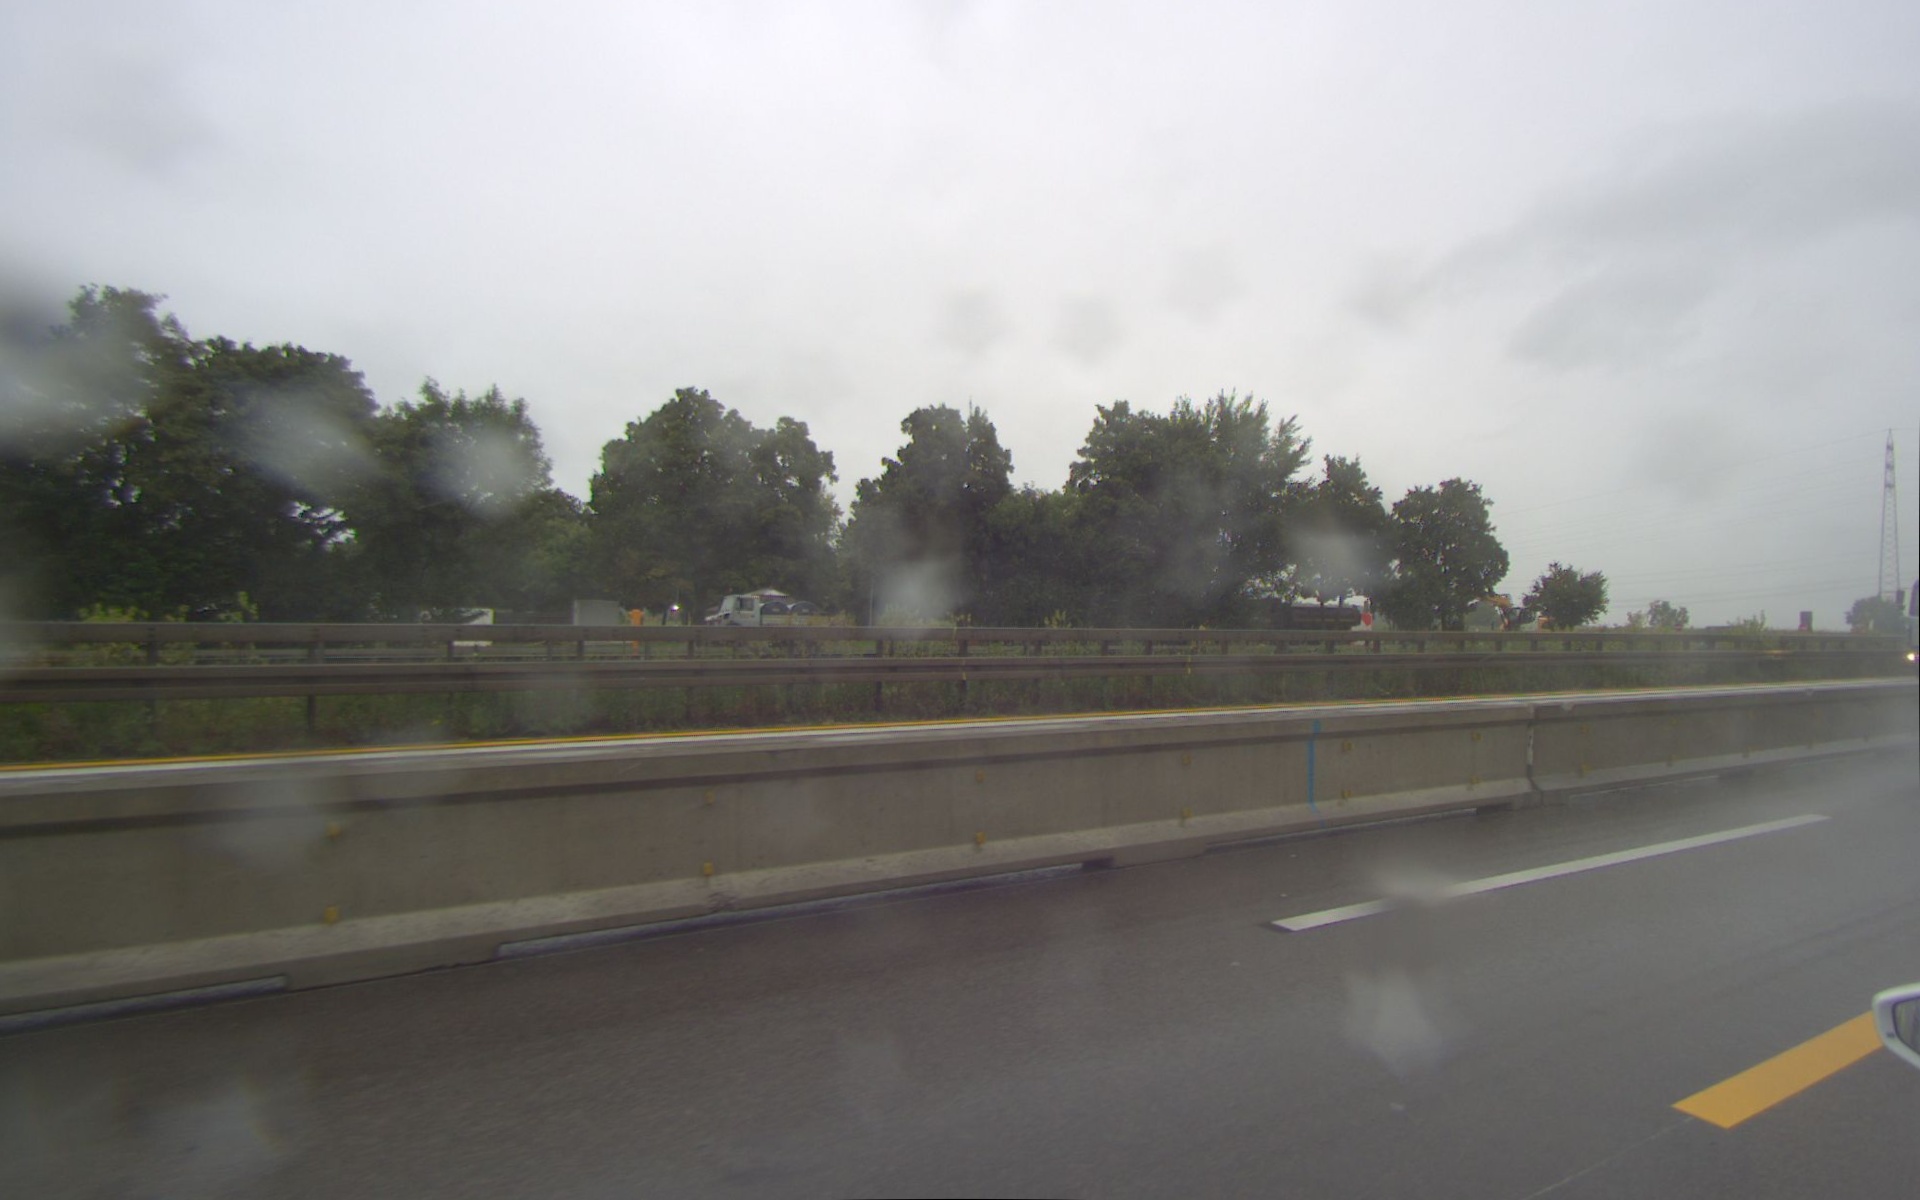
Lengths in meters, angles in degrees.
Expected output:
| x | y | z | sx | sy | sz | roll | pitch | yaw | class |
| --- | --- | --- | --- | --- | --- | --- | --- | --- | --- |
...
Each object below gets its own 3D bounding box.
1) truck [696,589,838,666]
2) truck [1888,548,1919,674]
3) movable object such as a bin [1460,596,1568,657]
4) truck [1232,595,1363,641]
| x | y | z | sx | sy | sz | roll | pitch | yaw | class |
| --- | --- | --- | --- | --- | --- | --- | --- | --- | --- |
| -8.800 | 1.283 | 45.949 | 5.794 | 3.255 | 2.603 | 3 | -1 | -27 | truck |
| 30.198 | 0.371 | 28.768 | 9.439 | 3.392 | 2.627 | 1 | 0 | -30 | truck |
| 39.020 | 1.869 | 70.648 | 8.365 | 3.971 | 2.716 | 3 | -1 | -30 | movable object such as a bin |
| 21.179 | 1.142 | 62.828 | 8.793 | 2.740 | 2.504 | 1 | -1 | -29 | truck |
